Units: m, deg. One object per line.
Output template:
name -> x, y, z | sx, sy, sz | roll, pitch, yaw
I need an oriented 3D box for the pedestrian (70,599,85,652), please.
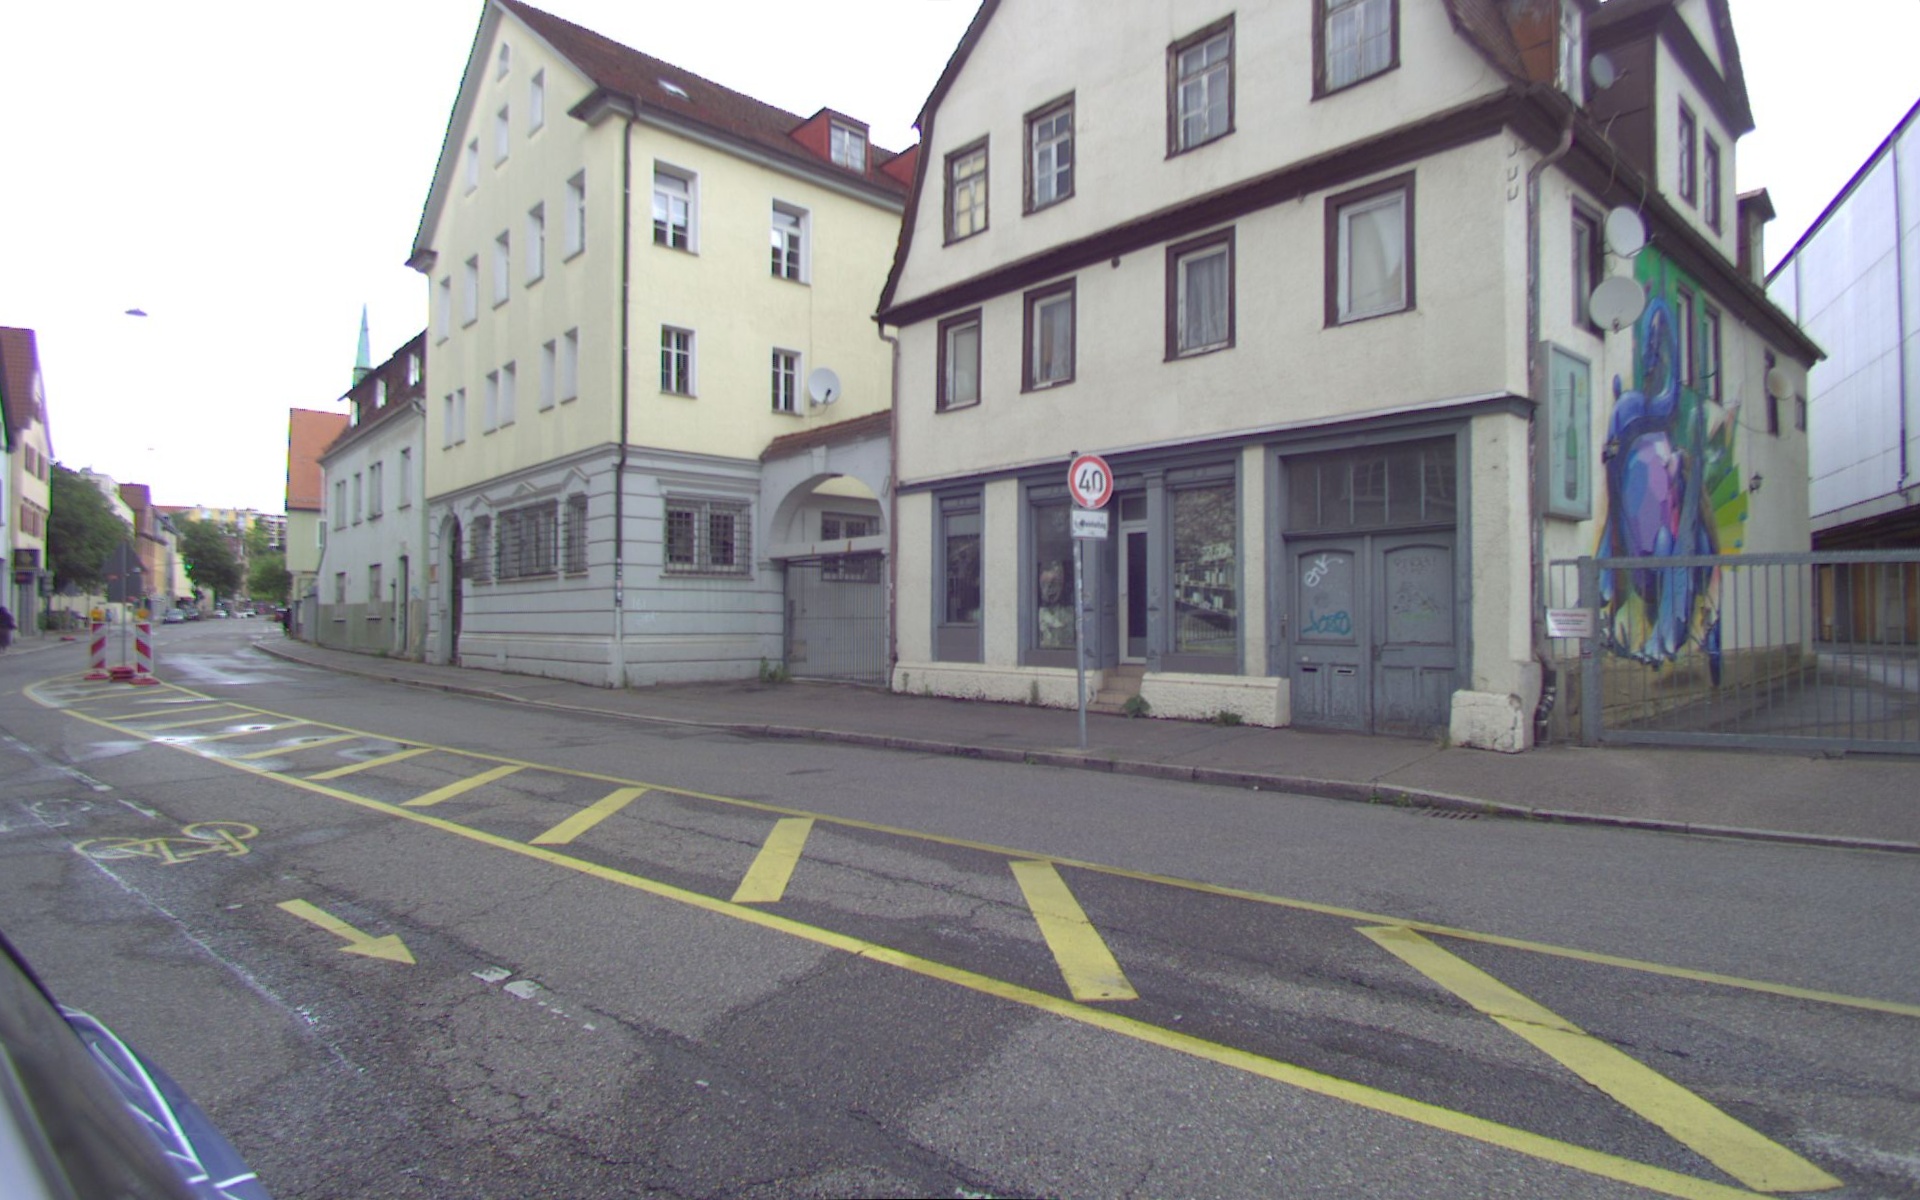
pedestrian -> -43.393, 1.254, 49.771 | 0.487, 2.547, 0.747 | 1, -2, -38

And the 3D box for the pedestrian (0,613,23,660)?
pedestrian -> -33.437, 1.265, 35.541 | 0.714, 1.626, 0.649 | 1, -2, -39

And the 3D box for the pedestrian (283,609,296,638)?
pedestrian -> -41.573, 1.479, 62.744 | 0.583, 1.793, 0.506 | 1, -2, -36
